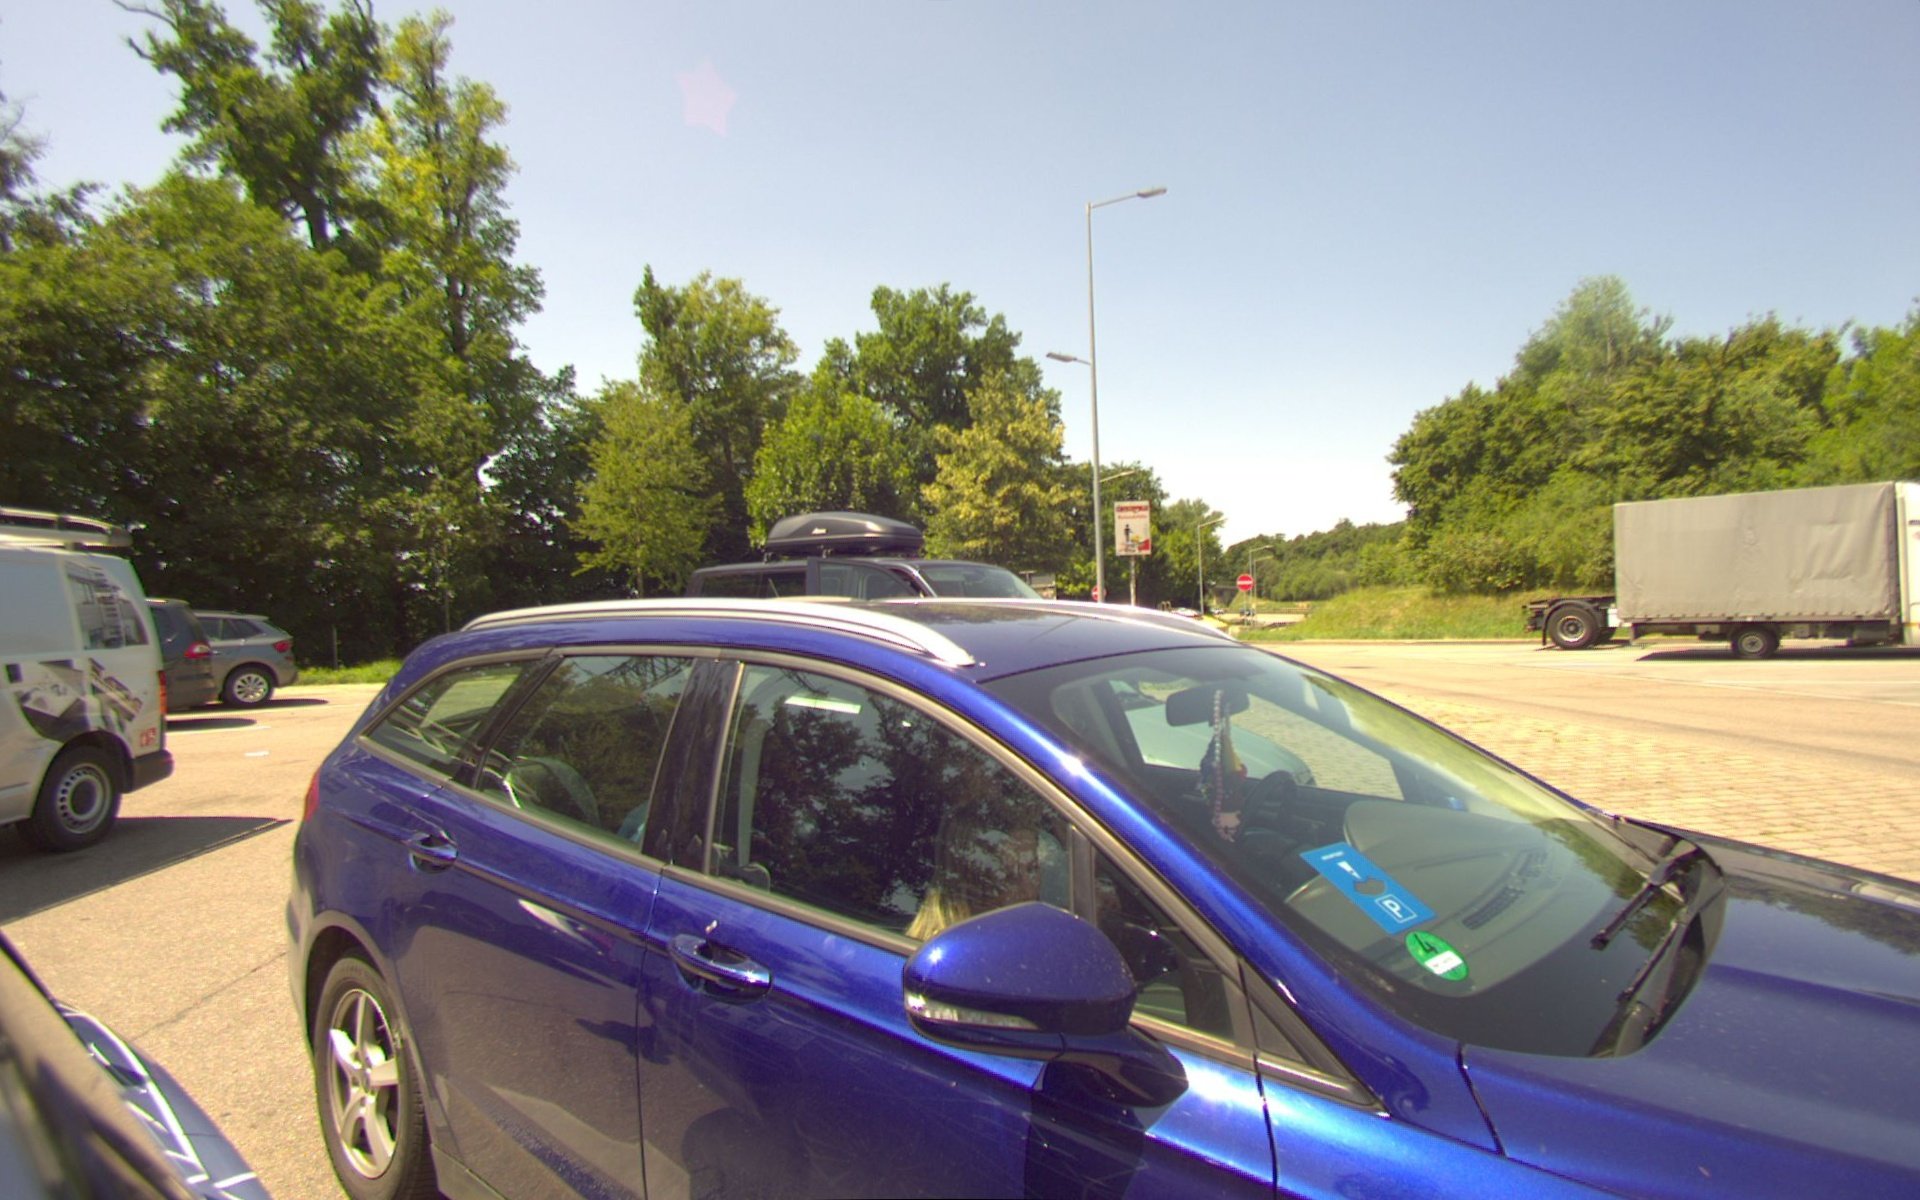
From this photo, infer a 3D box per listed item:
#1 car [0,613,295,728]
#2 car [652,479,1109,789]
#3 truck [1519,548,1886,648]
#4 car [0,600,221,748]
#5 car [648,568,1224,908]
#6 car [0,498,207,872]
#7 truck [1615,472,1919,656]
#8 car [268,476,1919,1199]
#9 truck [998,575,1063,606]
[{"bbox_3d":[-12.549,0.993,15.692,3.535,1.513,1.708,-1,0,-42],"label":"car"},{"bbox_3d":[-0.857,0.317,9.541,4.076,2.336,1.767,-2,-1,35],"label":"car"},{"bbox_3d":[16.935,0.058,23.512,6.613,2.029,1.973,-2,-1,41],"label":"truck"},{"bbox_3d":[-11.676,0.885,12.581,1.755,1.701,3.798,-2,-1,45],"label":"car"},{"bbox_3d":[-0.286,0.595,5.626,3.112,1.370,1.326,-2,-1,41],"label":"car"},{"bbox_3d":[-6.270,0.466,4.739,1.816,2.121,5.440,0,-1,-5],"label":"car"},{"bbox_3d":[16.622,-0.601,18.743,7.253,3.175,2.148,-2,-1,41],"label":"truck"},{"bbox_3d":[0.256,0.663,2.070,4.411,1.429,1.721,-2,-1,41],"label":"car"},{"bbox_3d":[3.390,-0.447,48.737,2.866,1.386,1.158,-2,-1,22],"label":"truck"}]
